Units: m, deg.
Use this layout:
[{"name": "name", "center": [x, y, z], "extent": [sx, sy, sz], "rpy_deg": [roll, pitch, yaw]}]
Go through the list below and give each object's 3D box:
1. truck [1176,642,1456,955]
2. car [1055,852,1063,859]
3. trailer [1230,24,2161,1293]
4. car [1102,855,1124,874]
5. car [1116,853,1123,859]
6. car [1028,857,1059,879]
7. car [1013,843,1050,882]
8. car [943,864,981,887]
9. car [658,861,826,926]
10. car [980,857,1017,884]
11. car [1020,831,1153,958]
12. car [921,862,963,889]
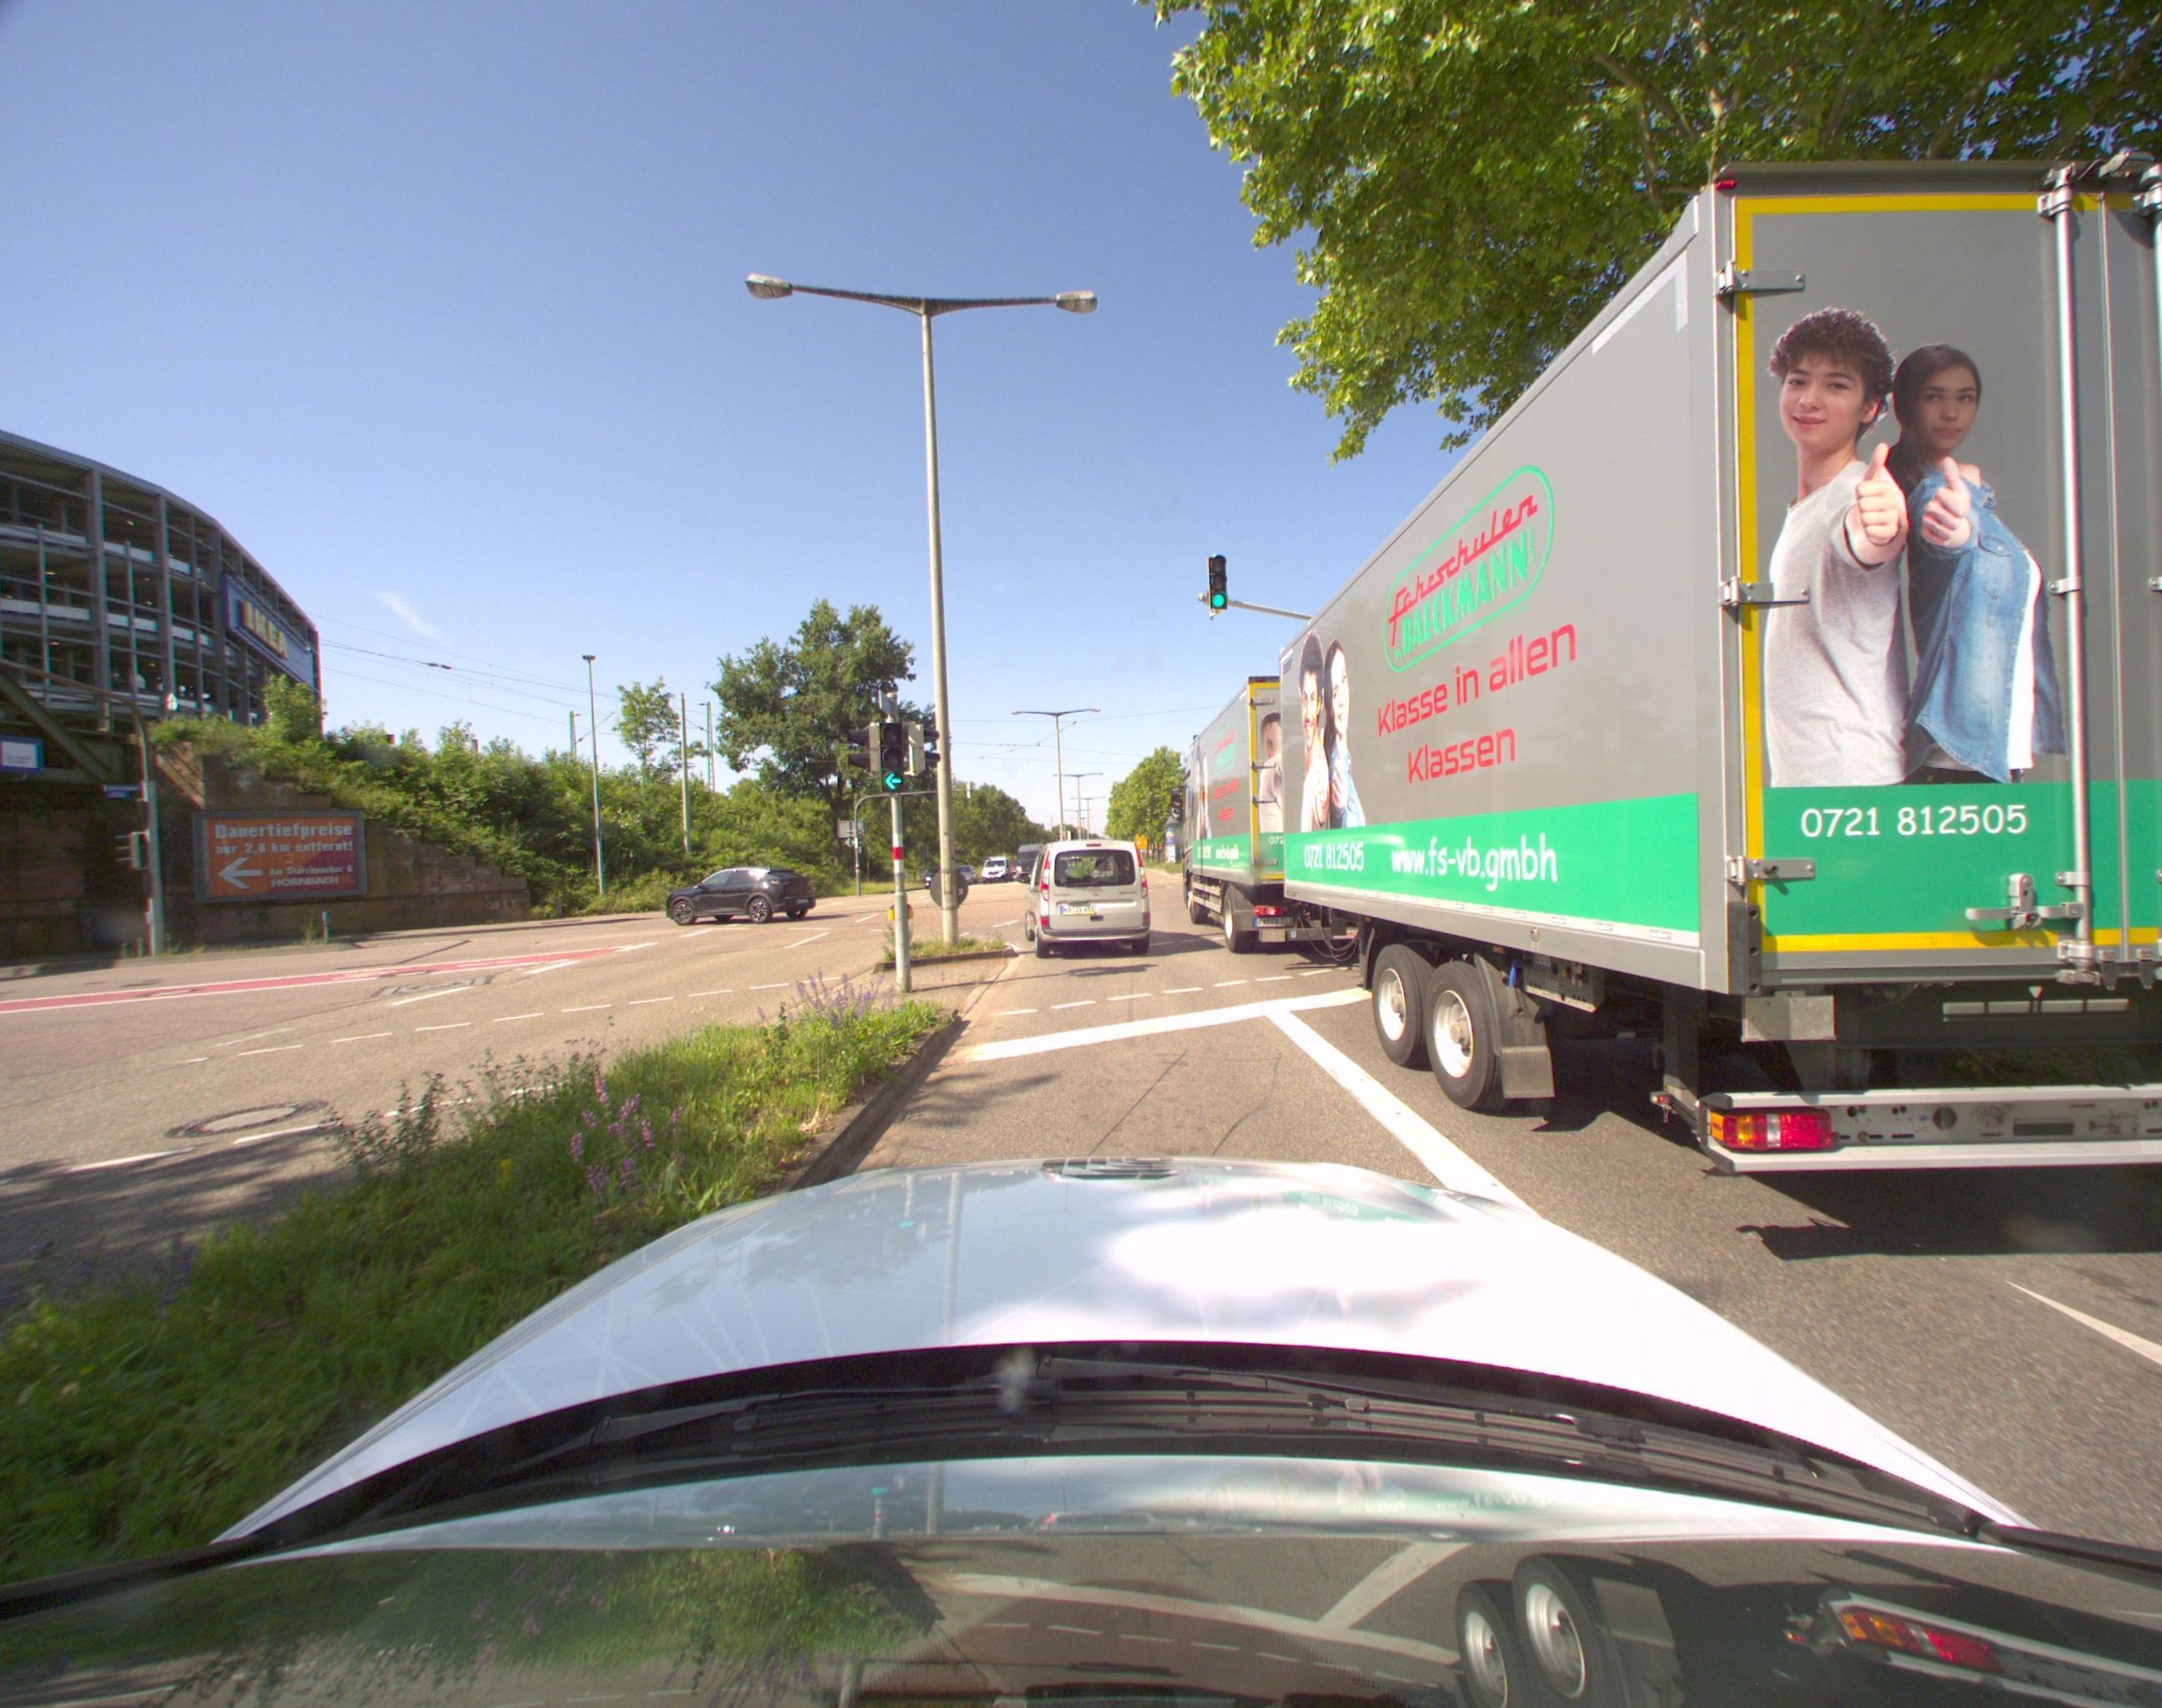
[{"name": "truck", "center": [3.473, -0.651, 14.678], "extent": [2.719, 3.889, 8.727], "rpy_deg": [-2, -1, 2]}, {"name": "car", "center": [-6.560, 0.566, 243.623], "extent": [1.881, 2.014, 4.002], "rpy_deg": [-1, -1, 2]}, {"name": "trailer", "center": [3.196, -0.597, 6.381], "extent": [2.726, 3.877, 7.737], "rpy_deg": [-2, -1, 2]}, {"name": "car", "center": [2.929, 0.942, 73.652], "extent": [1.985, 1.585, 4.459], "rpy_deg": [-1, -1, 3]}, {"name": "car", "center": [10.926, 0.684, 230.908], "extent": [1.985, 1.585, 4.459], "rpy_deg": [-3, 0, 3]}, {"name": "car", "center": [-2.986, 1.108, 65.429], "extent": [1.985, 1.585, 4.003], "rpy_deg": [-3, -1, 3]}, {"name": "car", "center": [-3.455, 0.599, 58.161], "extent": [1.986, 2.607, 5.136], "rpy_deg": [-3, -1, 2]}, {"name": "car", "center": [-8.826, 1.586, 60.944], "extent": [1.986, 1.540, 4.238], "rpy_deg": [-3, -1, 2]}, {"name": "car", "center": [-10.023, 1.151, 24.188], "extent": [4.184, 1.662, 1.945], "rpy_deg": [-3, 0, 15]}, {"name": "car", "center": [-6.004, 1.191, 59.725], "extent": [1.986, 1.870, 4.776], "rpy_deg": [-3, -1, 2]}, {"name": "car", "center": [-0.065, 0.612, 13.932], "extent": [1.784, 1.838, 3.990], "rpy_deg": [0, -1, -7]}, {"name": "car", "center": [-9.178, 1.373, 54.174], "extent": [1.904, 1.641, 3.739], "rpy_deg": [-3, -1, 2]}]
